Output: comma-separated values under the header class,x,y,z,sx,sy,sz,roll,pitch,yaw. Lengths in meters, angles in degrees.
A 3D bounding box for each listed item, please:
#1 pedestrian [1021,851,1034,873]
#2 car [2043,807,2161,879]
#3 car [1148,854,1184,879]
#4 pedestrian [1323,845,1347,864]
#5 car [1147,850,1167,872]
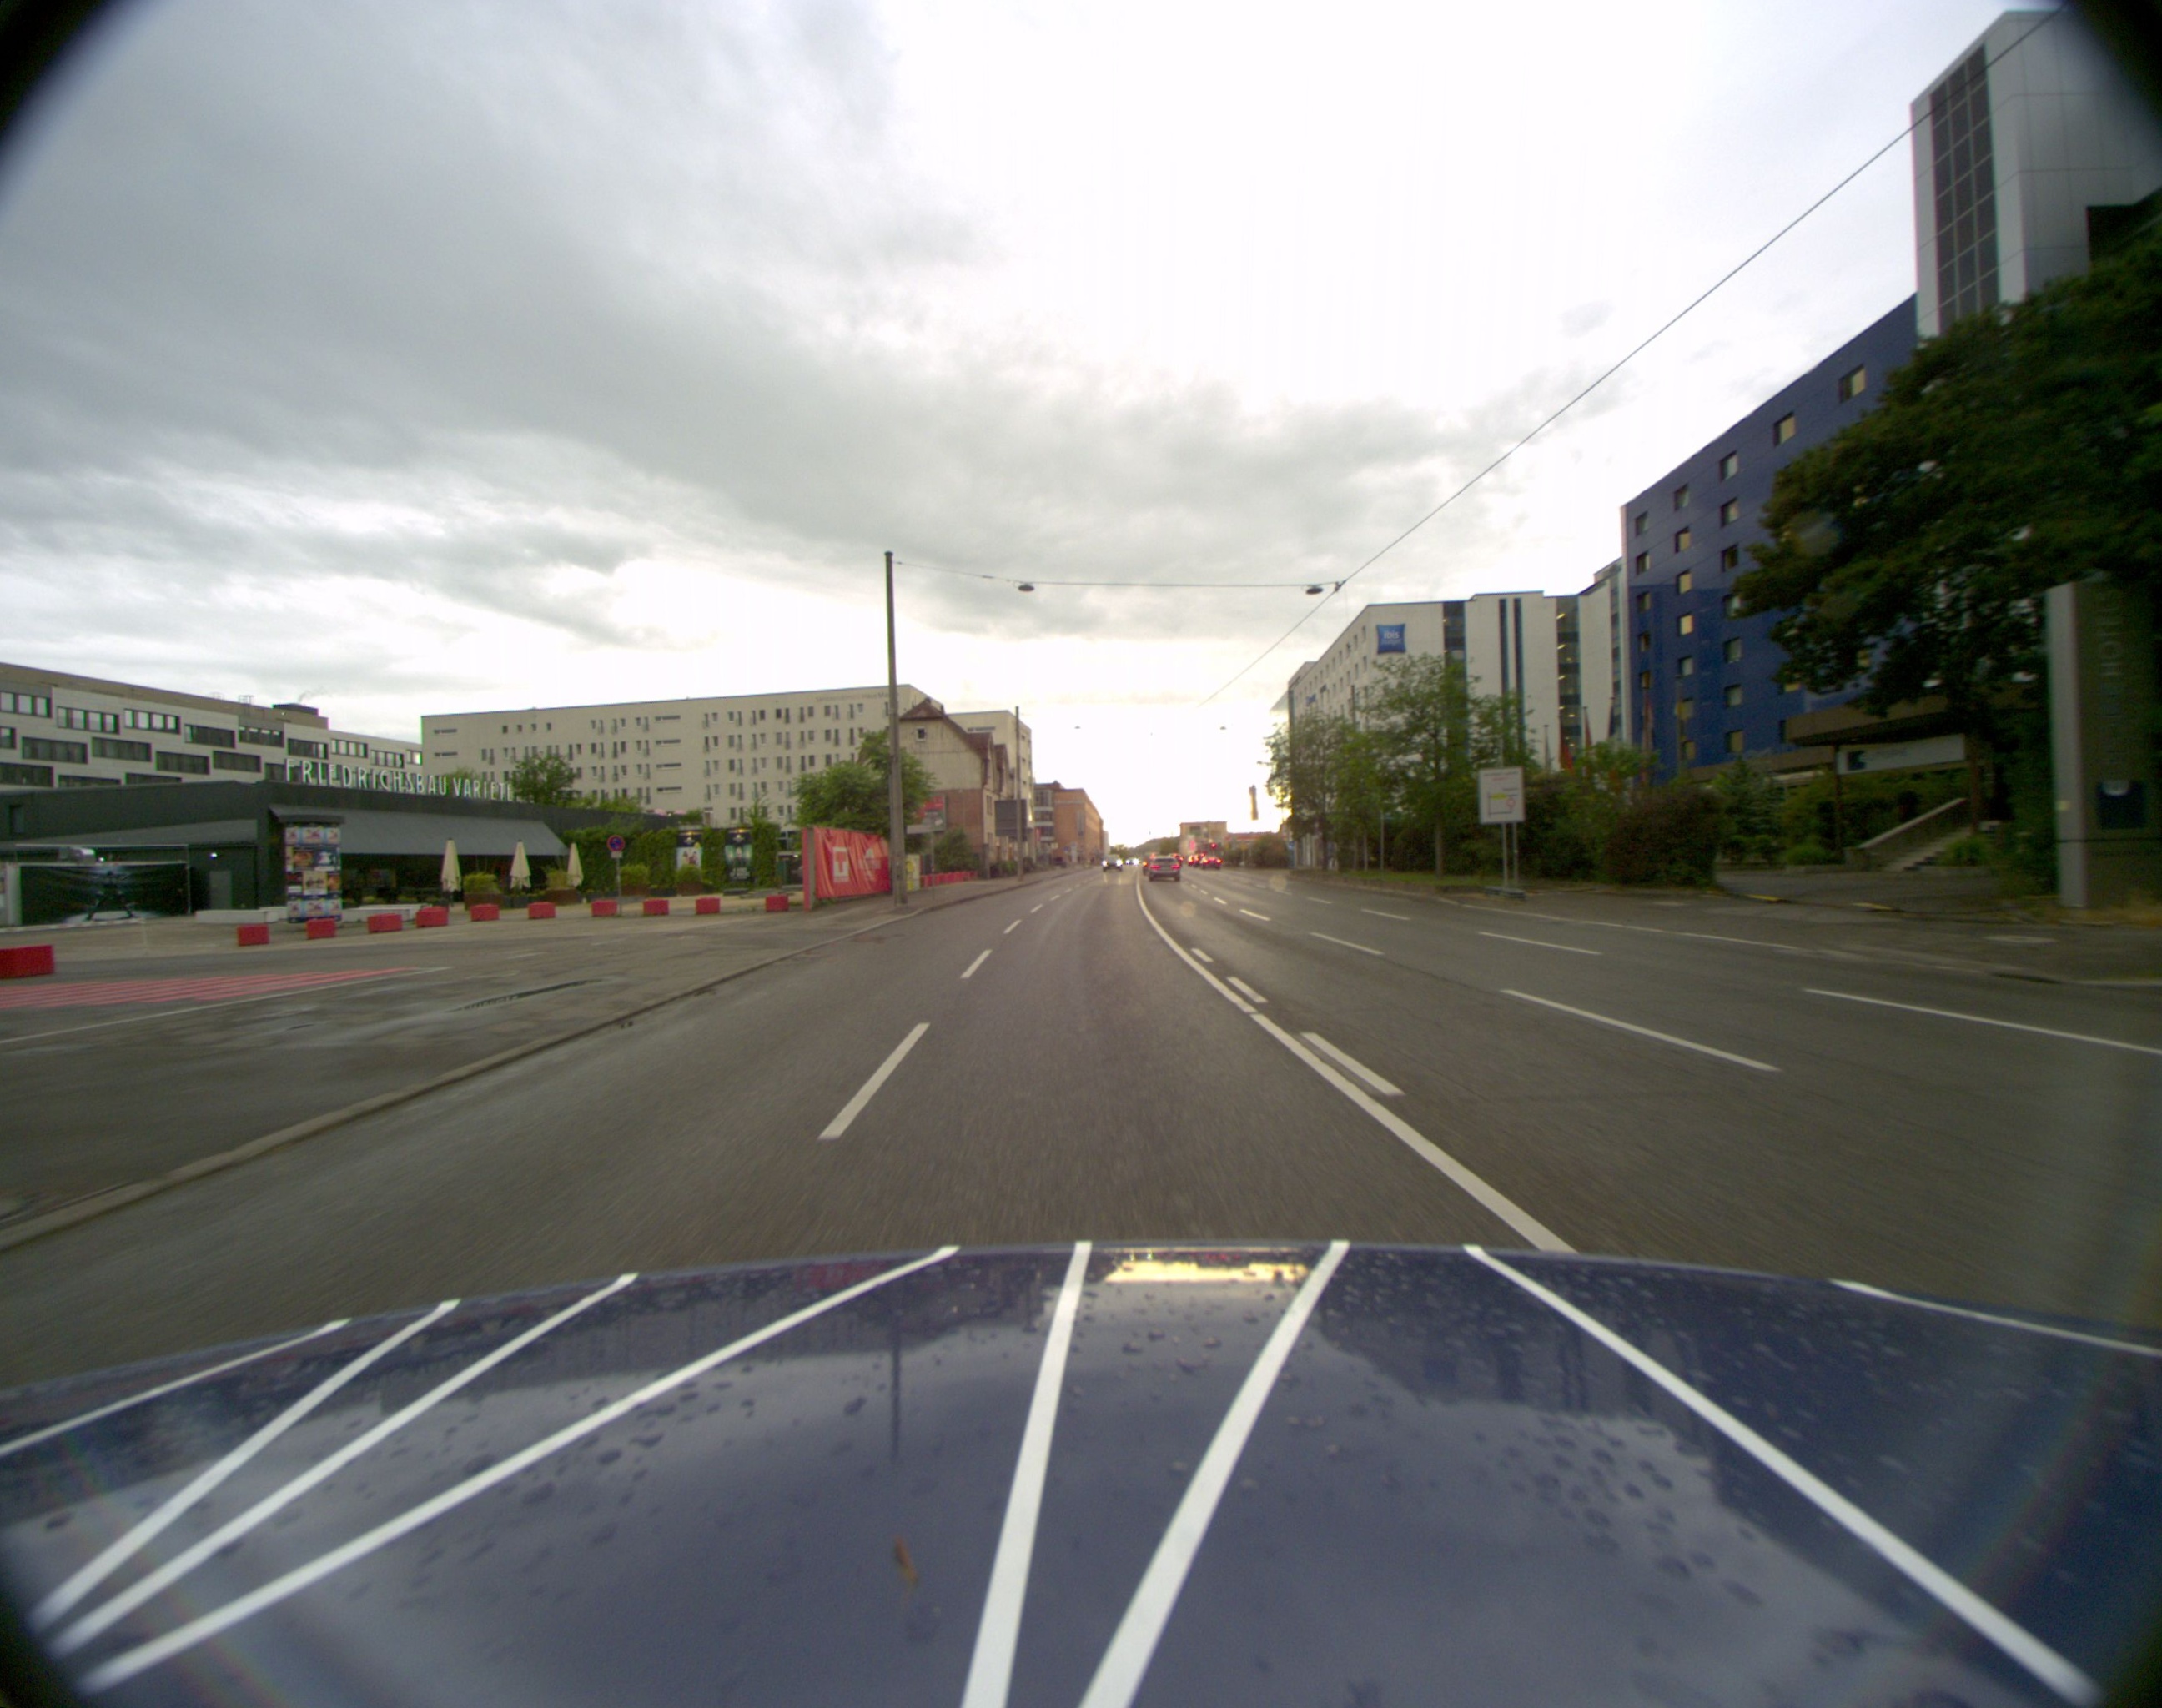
class,x,y,z,sx,sy,sz,roll,pitch,yaw
pedestrian,-4.361,0.652,62.203,0.766,1.754,0.914,-3,2,7
car,27.300,-0.337,18.954,3.995,1.694,1.746,-3,0,6
car,5.000,0.695,45.141,1.716,1.357,4.000,-1,1,1
pedestrian,24.516,0.021,73.292,1.995,1.710,1.698,-3,-1,24
car,6.065,0.558,61.060,1.506,1.656,3.421,-1,-1,4
